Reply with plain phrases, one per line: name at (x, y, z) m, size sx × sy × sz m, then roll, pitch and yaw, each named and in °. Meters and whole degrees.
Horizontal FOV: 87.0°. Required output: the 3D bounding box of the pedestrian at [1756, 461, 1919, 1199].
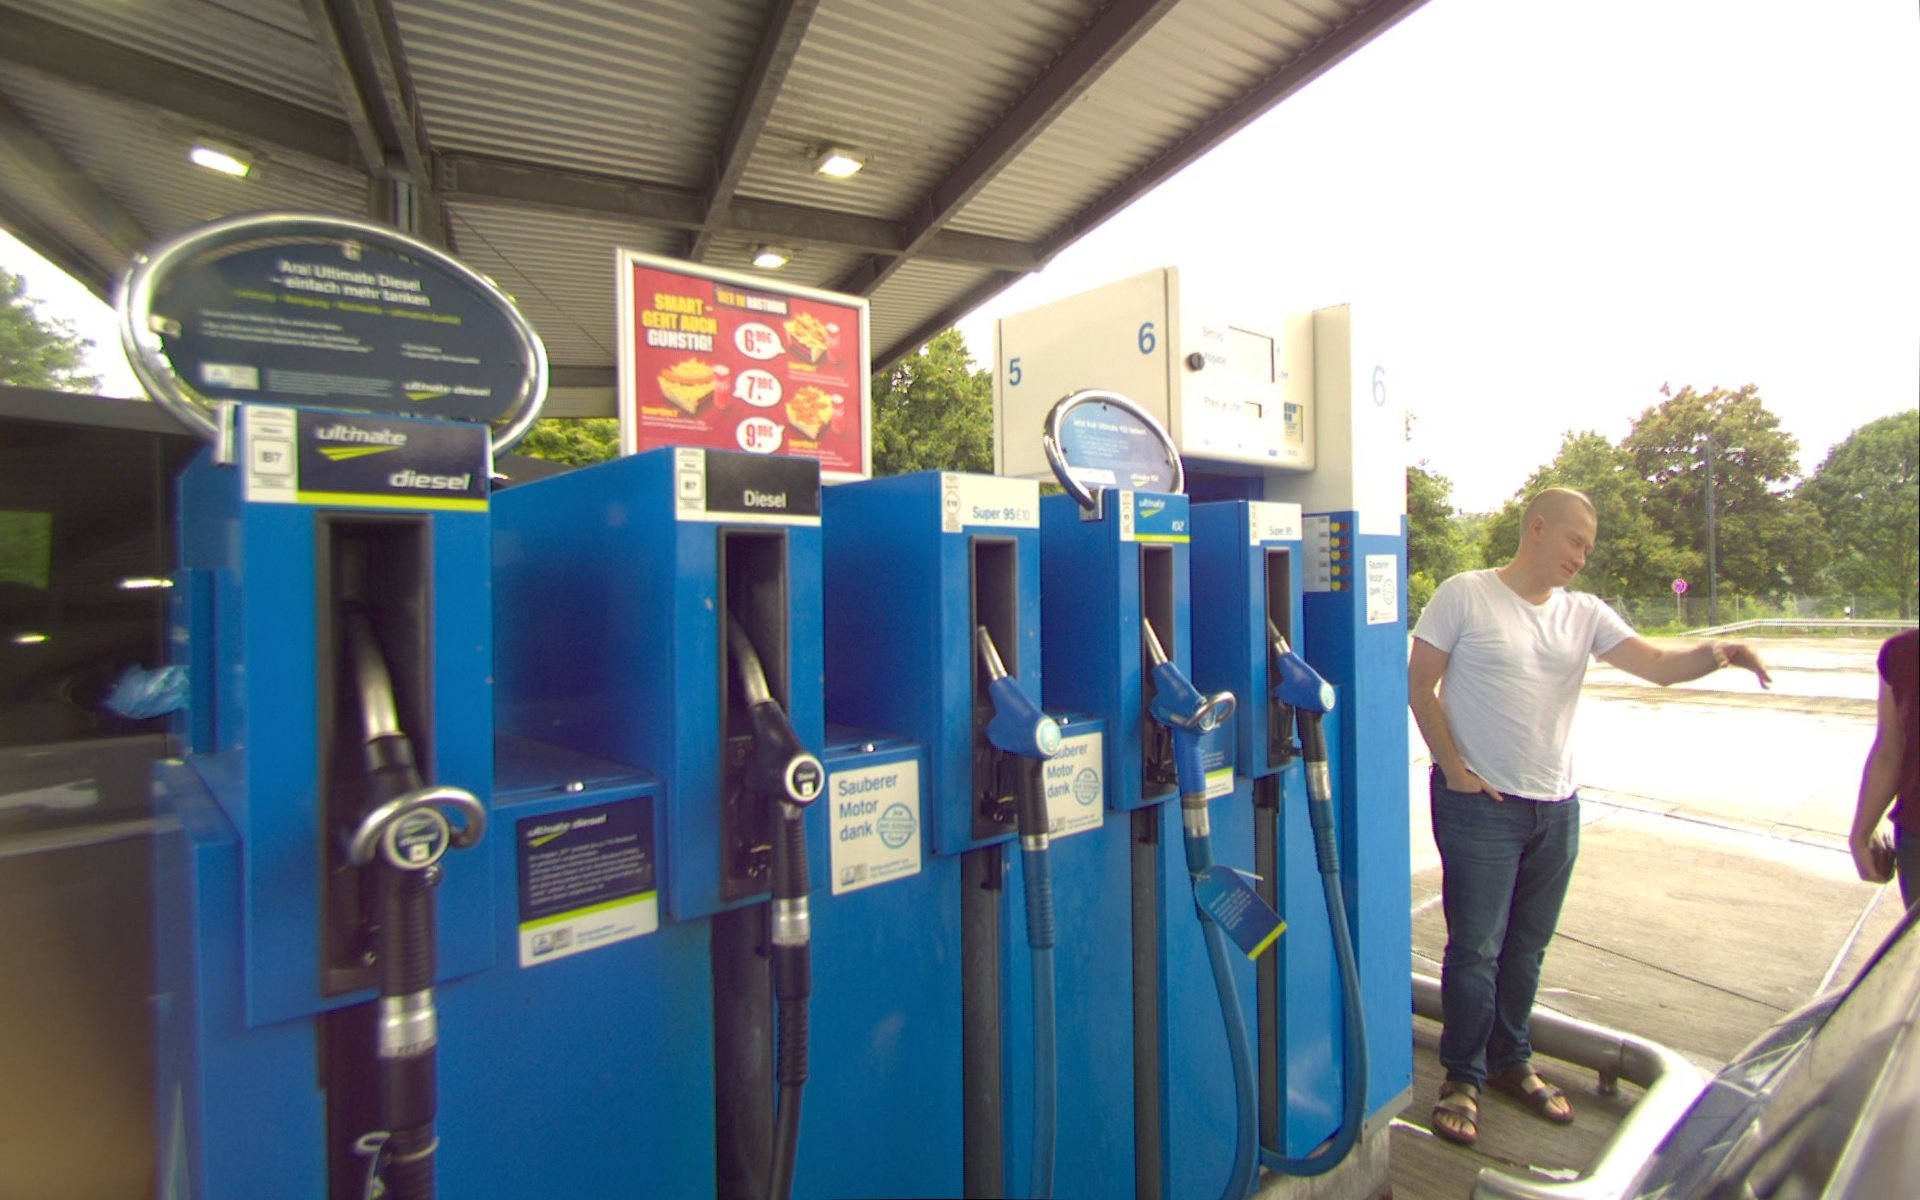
pedestrian at (2.533, 0.566, 2.502) m, size 0.791 × 1.756 × 0.829 m, roll 1°, pitch 1°, yaw 33°

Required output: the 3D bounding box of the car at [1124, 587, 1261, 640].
car at (7.388, 0.404, 32.143) m, size 4.123 × 1.576 × 1.990 m, roll 1°, pitch 0°, yaw 17°

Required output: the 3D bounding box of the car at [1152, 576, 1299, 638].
car at (8.924, 0.207, 34.328) m, size 4.700 × 2.011 × 2.007 m, roll 0°, pitch 0°, yaw 14°

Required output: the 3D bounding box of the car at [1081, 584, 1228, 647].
car at (5.799, 0.420, 30.009) m, size 4.123 × 1.752 × 1.990 m, roll 1°, pitch 0°, yaw 17°

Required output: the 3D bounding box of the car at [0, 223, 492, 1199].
car at (-3.034, 0.382, 1.475) m, size 3.930 × 1.973 × 1.819 m, roll 0°, pitch 0°, yaw -41°

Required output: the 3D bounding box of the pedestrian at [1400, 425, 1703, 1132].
pedestrian at (1.668, 0.462, 2.935) m, size 0.625 × 1.832 × 0.492 m, roll -1°, pitch 1°, yaw 15°

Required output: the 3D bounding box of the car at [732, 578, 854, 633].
car at (-5.563, 0.148, 33.462) m, size 1.967 × 1.683 × 4.170 m, roll 0°, pitch 0°, yaw -44°
